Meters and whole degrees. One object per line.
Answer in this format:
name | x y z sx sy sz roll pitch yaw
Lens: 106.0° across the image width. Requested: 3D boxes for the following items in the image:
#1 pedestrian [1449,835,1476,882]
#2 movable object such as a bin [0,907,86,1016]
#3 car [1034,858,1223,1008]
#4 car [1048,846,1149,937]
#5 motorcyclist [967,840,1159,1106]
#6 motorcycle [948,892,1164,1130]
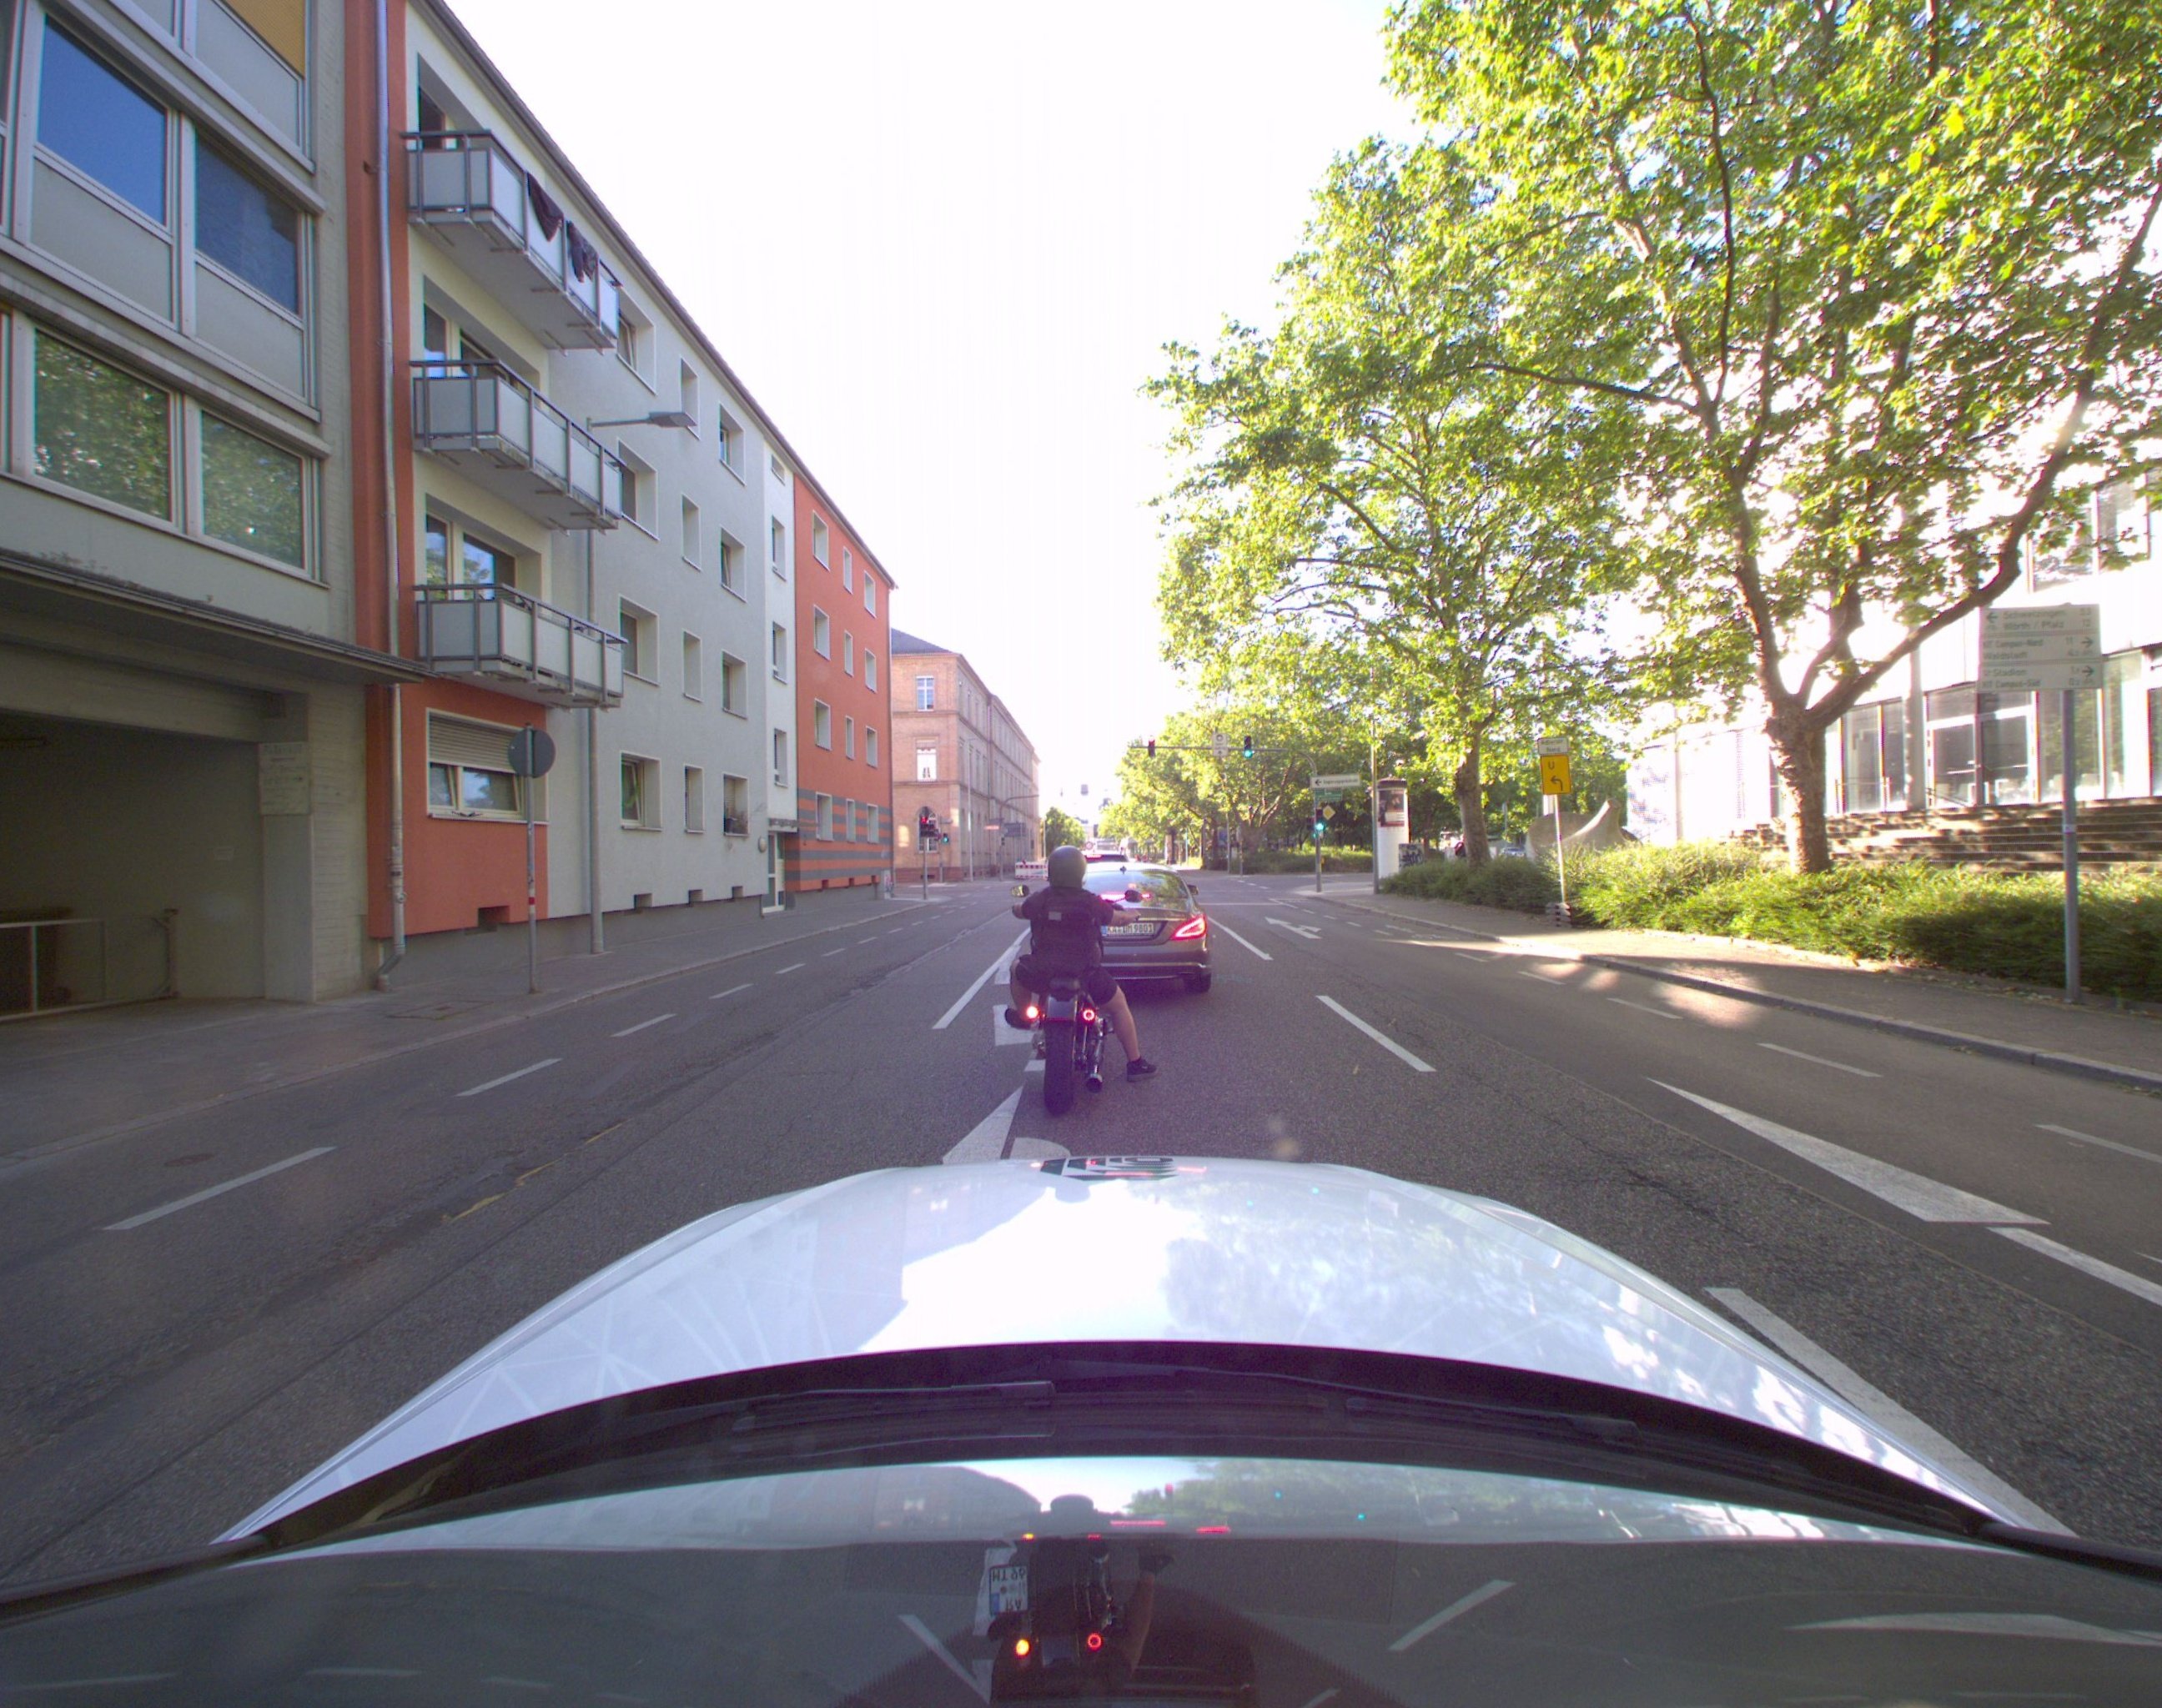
pedestrian | 14.630 0.167 31.243 0.731 1.778 0.731 -1 -1 10
movable object such as a bin | -11.282 1.122 8.646 0.533 1.079 0.723 0 -1 3
car | 0.522 0.781 9.779 1.815 1.437 3.807 0 -1 2
car | 0.383 0.713 17.067 1.856 1.678 4.001 0 -1 2
motorcyclist | -0.068 0.706 5.403 1.093 1.566 1.074 -1 -1 8
motorcycle | -0.039 0.914 5.622 1.111 1.207 2.217 -1 -1 8
